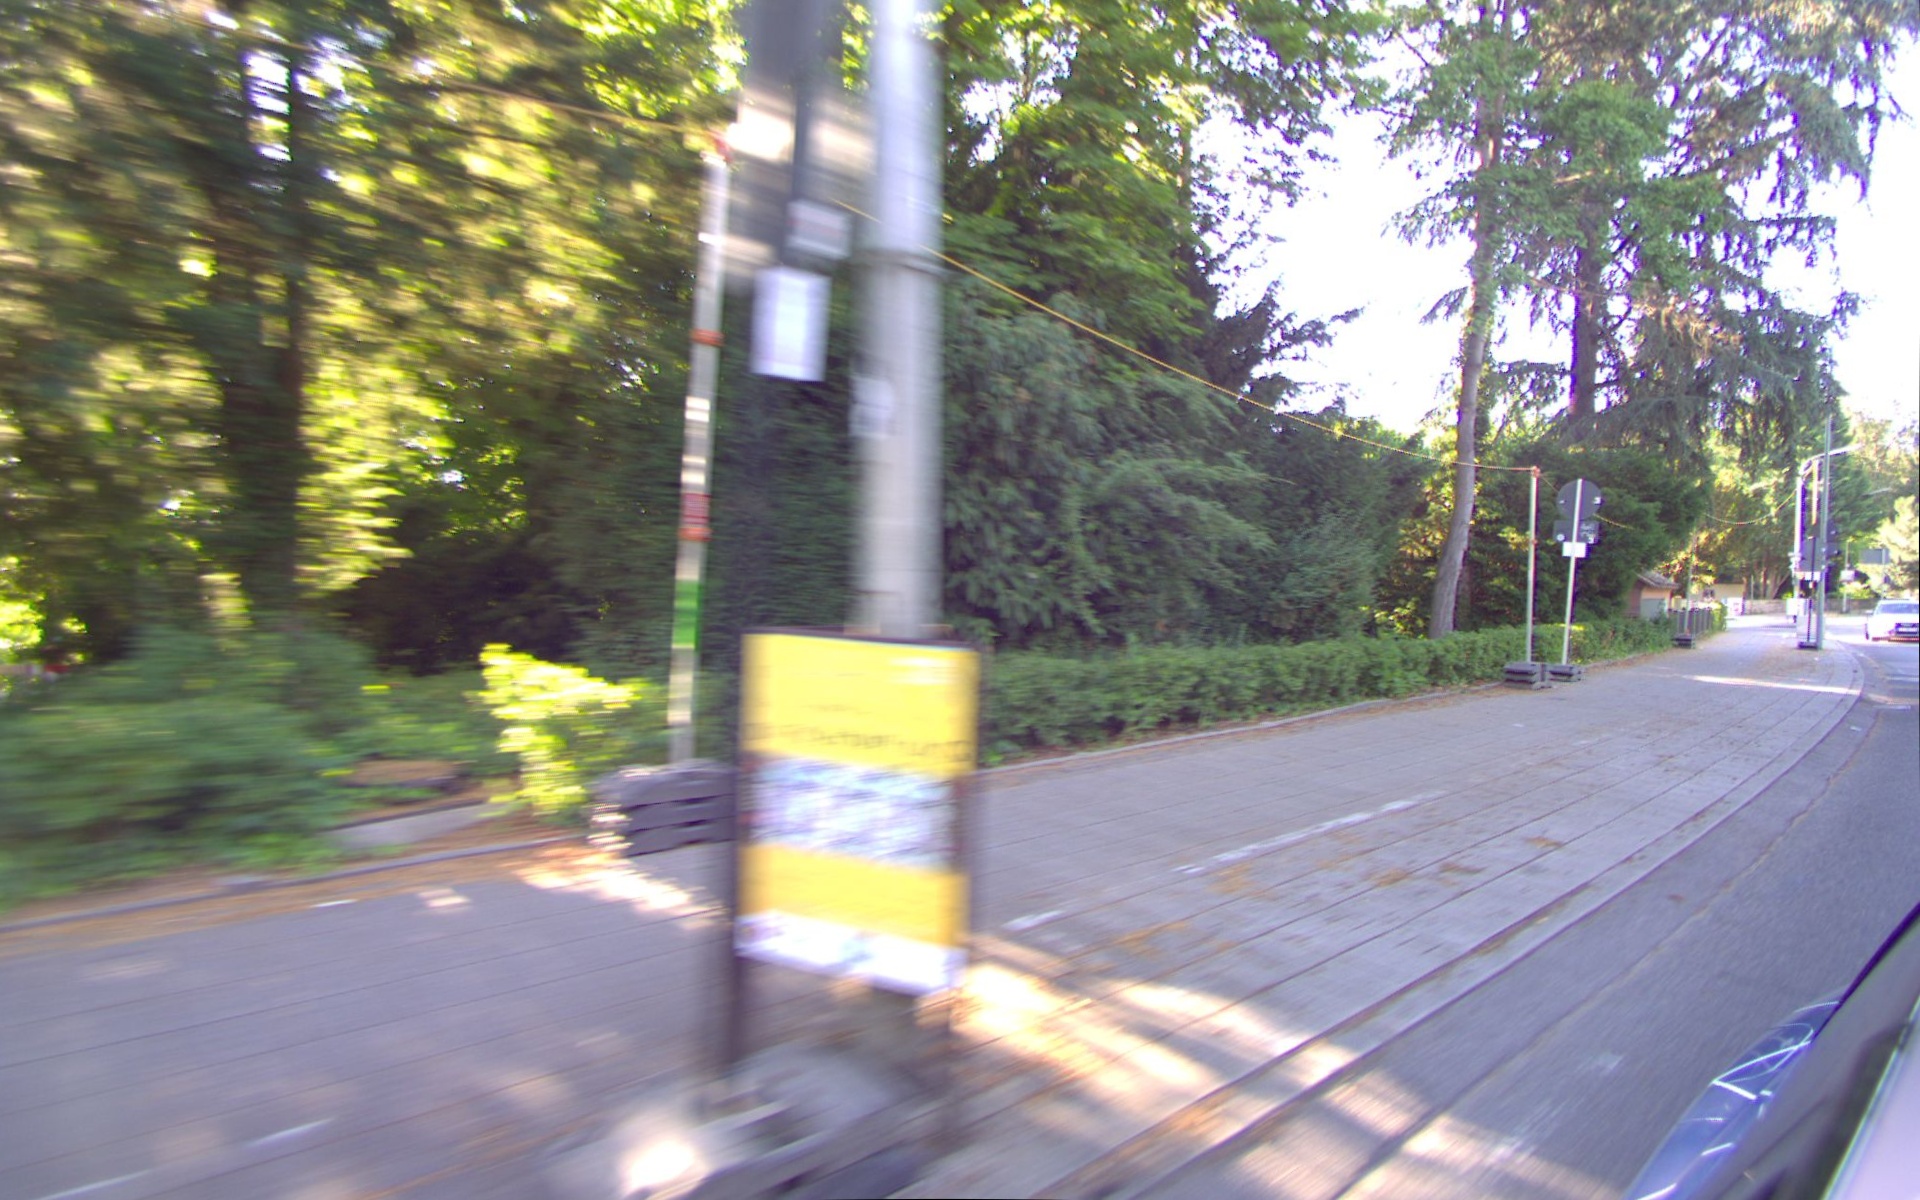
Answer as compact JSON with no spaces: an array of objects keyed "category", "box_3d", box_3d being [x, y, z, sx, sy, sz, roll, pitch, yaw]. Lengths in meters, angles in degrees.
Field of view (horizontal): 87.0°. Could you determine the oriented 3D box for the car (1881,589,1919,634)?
[{"category":"car","box_3d":[33.424,0.359,35.330,1.655,1.495,3.631,0,1,39]}]
